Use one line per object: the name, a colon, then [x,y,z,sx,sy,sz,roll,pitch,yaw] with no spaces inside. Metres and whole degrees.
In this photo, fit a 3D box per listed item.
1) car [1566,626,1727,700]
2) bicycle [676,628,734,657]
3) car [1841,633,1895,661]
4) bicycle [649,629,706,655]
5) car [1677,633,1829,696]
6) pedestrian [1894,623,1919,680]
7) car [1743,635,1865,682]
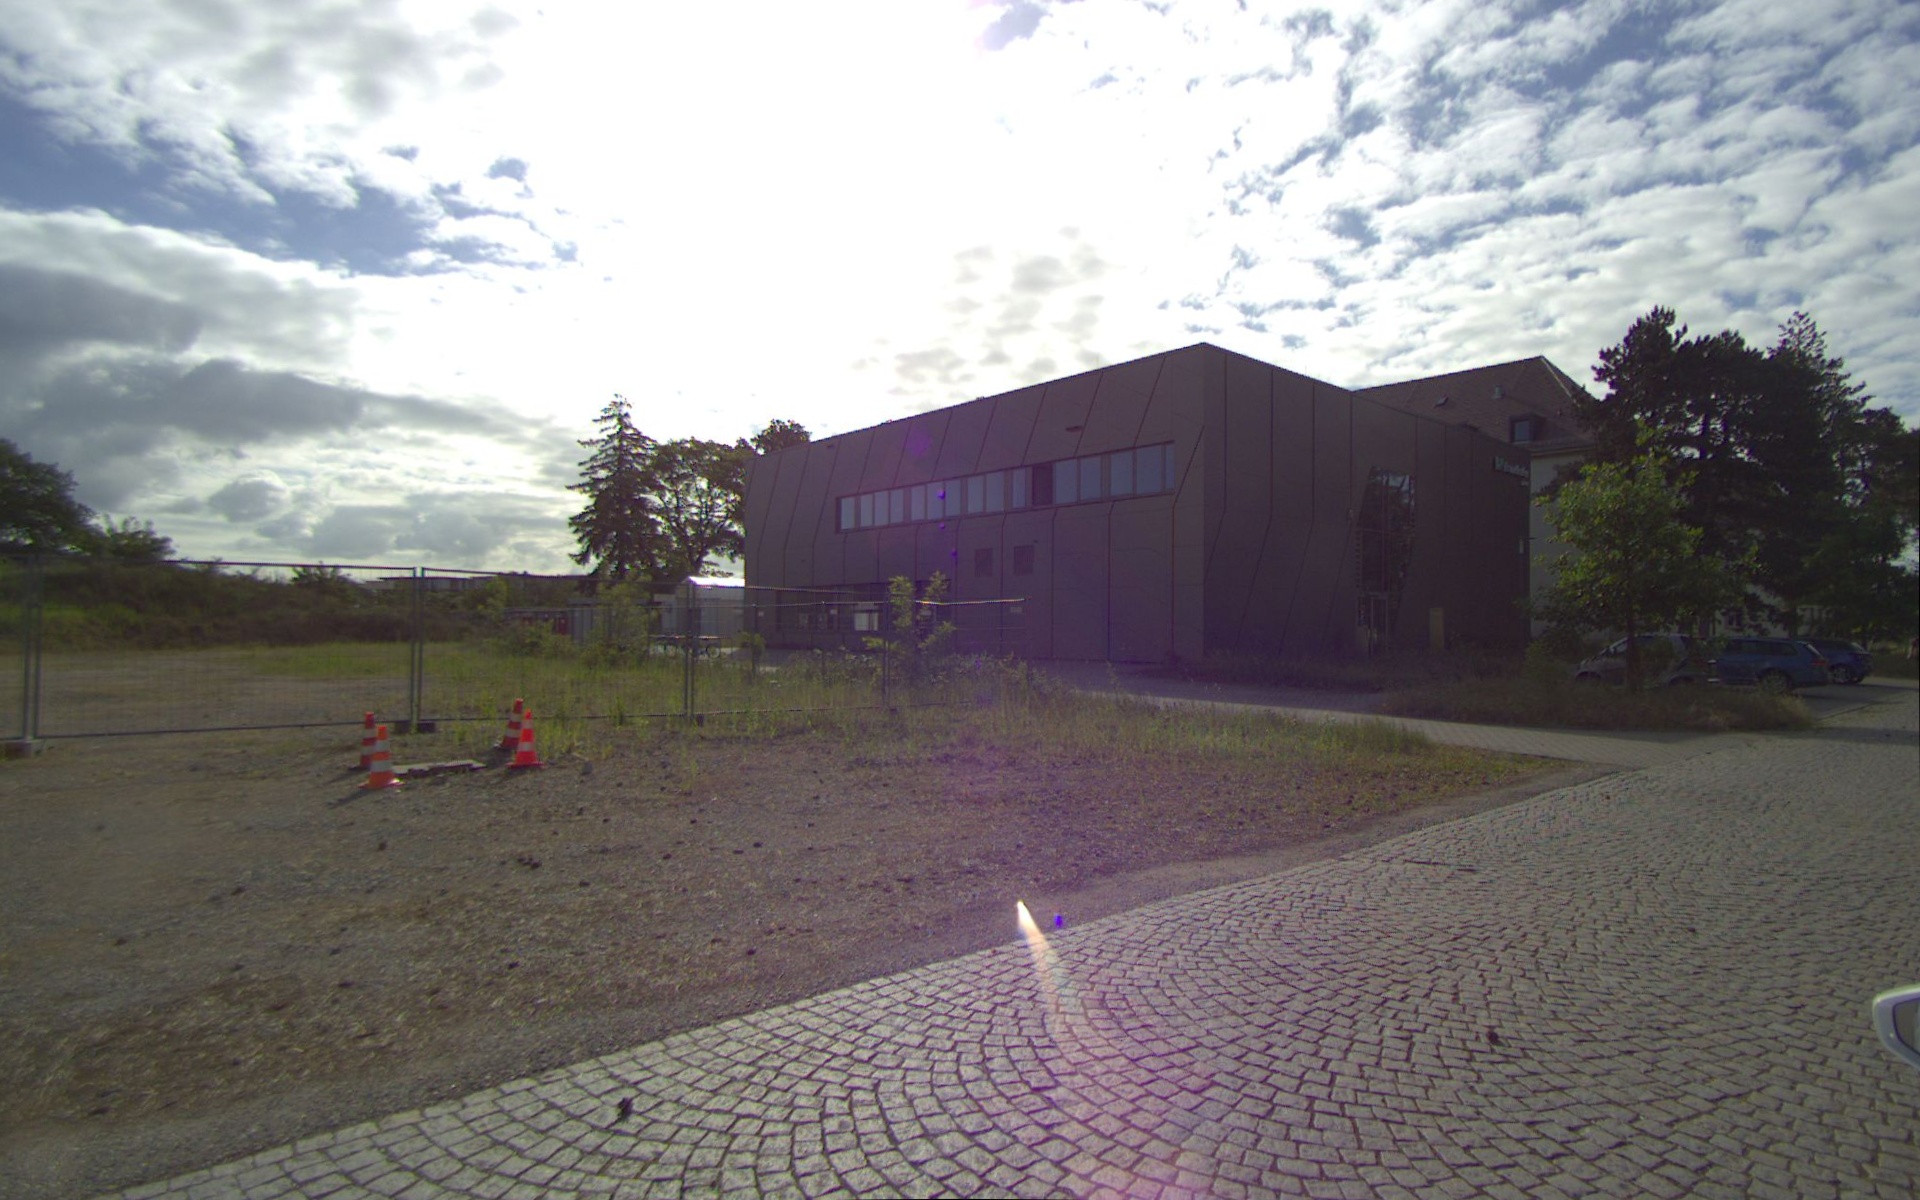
car: [15.590,1.393,22.896,1.412,1.570,2.741,1,-2,-36]
bicycle: [-10.074,1.664,39.702,2.055,1.101,0.934,1,-2,-43]
car: [55.465,2.828,61.349,3.968,1.639,1.977,2,-2,-41]
bicycle: [-11.602,1.709,41.331,2.055,1.058,0.934,1,-2,-43]
car: [21.442,1.695,27.212,1.482,1.476,3.052,2,0,-45]
pedestrian: [31.682,1.701,33.278,0.943,1.868,0.952,-1,-2,35]
car: [28.180,1.923,33.580,3.051,1.469,1.483,-1,-2,44]
